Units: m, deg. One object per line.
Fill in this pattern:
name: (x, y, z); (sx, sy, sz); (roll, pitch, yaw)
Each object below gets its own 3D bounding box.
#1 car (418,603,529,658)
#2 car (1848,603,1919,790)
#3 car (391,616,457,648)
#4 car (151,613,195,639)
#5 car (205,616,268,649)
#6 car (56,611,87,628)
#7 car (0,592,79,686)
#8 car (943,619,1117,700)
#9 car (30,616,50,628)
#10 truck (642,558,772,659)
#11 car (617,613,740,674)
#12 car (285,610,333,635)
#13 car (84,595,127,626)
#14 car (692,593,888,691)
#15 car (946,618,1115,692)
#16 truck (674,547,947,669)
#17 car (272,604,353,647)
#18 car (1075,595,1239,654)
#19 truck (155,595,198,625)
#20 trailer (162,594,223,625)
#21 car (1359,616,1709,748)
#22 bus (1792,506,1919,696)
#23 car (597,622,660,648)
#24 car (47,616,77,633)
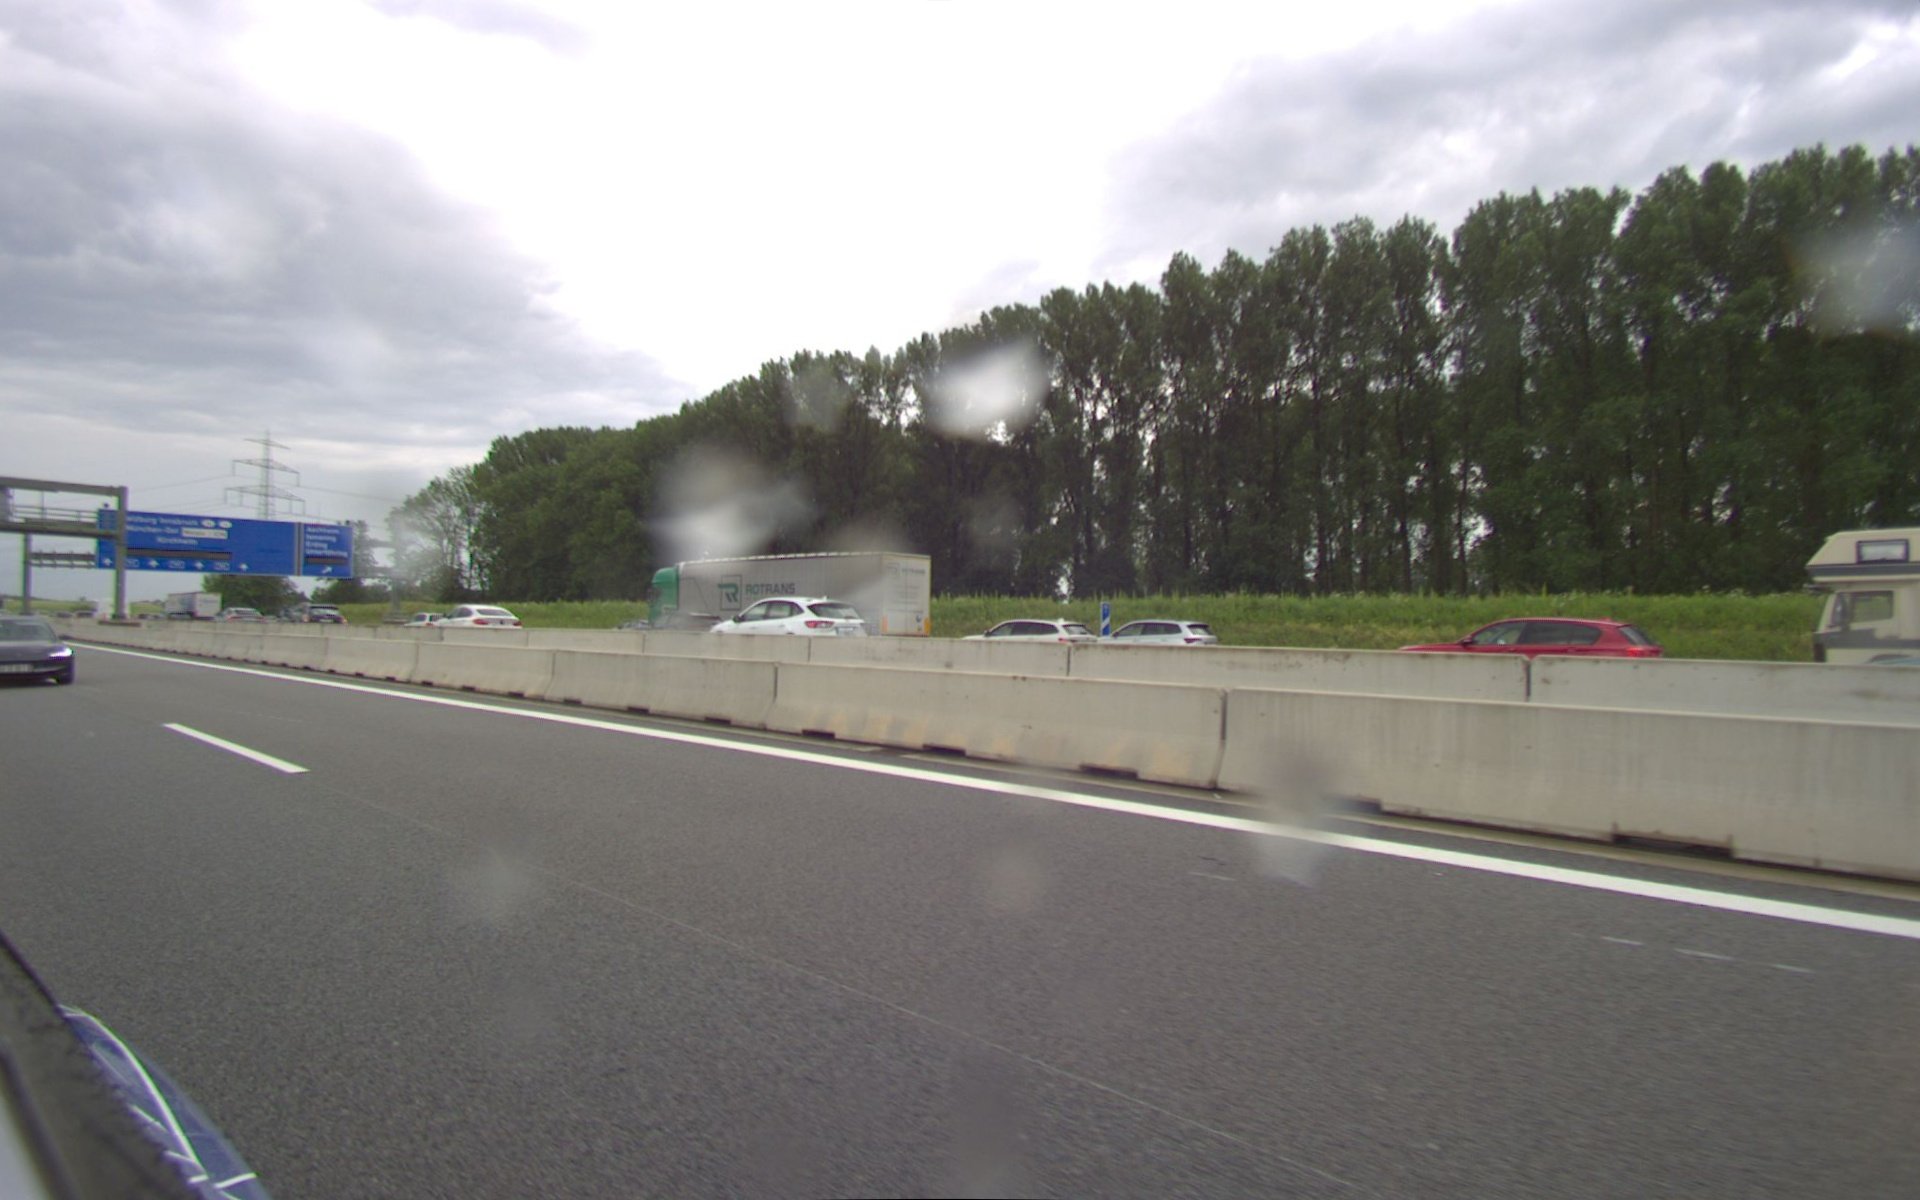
car: (-17.930, 1.100, 37.174); (5.077, 1.867, 1.972); (-1, -2, 43)
car: (11.640, 0.952, 9.707); (4.634, 1.869, 1.973); (-1, -1, 41)
car: (-32.367, 1.894, 61.041); (5.077, 1.867, 1.972); (-1, -2, 43)
car: (-57.183, 1.841, 73.489); (4.427, 1.807, 1.687); (-1, -1, 41)
car: (-43.333, 1.895, 60.538); (5.184, 1.900, 1.973); (-1, -1, 41)
car: (-87.120, 1.880, 99.269); (3.999, 1.670, 1.849); (-1, -1, 42)
car: (-20.345, 0.781, 21.575); (5.165, 1.834, 1.971); (-1, -1, 45)
car: (1.877, 1.563, 28.260); (4.638, 2.029, 1.972); (-1, -1, 43)
car: (-139.508, 3.343, 153.460); (4.017, 1.740, 1.972); (-1, -1, 42)
truck: (-11.667, 0.432, 46.508); (5.911, 4.314, 3.084); (-1, -1, 43)
car: (-9.767, 1.439, 34.938); (4.638, 1.948, 1.972); (-1, -1, 42)
car: (-48.506, 1.650, 75.328); (4.967, 1.807, 1.687); (-1, -1, 41)
car: (-75.078, 0.929, 88.899); (6.340, 2.636, 1.972); (-1, -1, 42)
car: (-3.993, 0.895, 23.247); (4.763, 2.029, 1.972); (-1, -1, 43)
car: (1.901, 1.462, 28.197); (4.399, 1.869, 1.973); (-1, -1, 41)
truck: (-6.686, 0.356, 41.929); (13.950, 4.345, 3.114); (-1, -1, 43)
car: (-30.595, 1.182, 47.778); (5.186, 1.912, 1.972); (-1, -1, 43)
car: (5.817, 0.696, 30.188); (4.399, 1.630, 1.973); (-1, -1, 41)
truck: (-96.214, 1.245, 124.315); (6.098, 3.534, 3.102); (-1, -1, 41)
trailer: (-90.672, 1.140, 119.399); (14.447, 3.534, 3.077); (-1, -1, 42)
car: (9.216, 1.187, 16.511); (4.638, 1.842, 1.972); (-1, -1, 43)
bus: (20.244, -0.019, 16.625); (9.965, 3.358, 2.800); (-1, -1, 44)
car: (-19.598, 2.029, 59.756); (3.998, 1.443, 1.783); (-1, -1, 41)
car: (-99.080, 2.694, 111.668); (4.016, 1.740, 1.973); (-1, -1, 41)
